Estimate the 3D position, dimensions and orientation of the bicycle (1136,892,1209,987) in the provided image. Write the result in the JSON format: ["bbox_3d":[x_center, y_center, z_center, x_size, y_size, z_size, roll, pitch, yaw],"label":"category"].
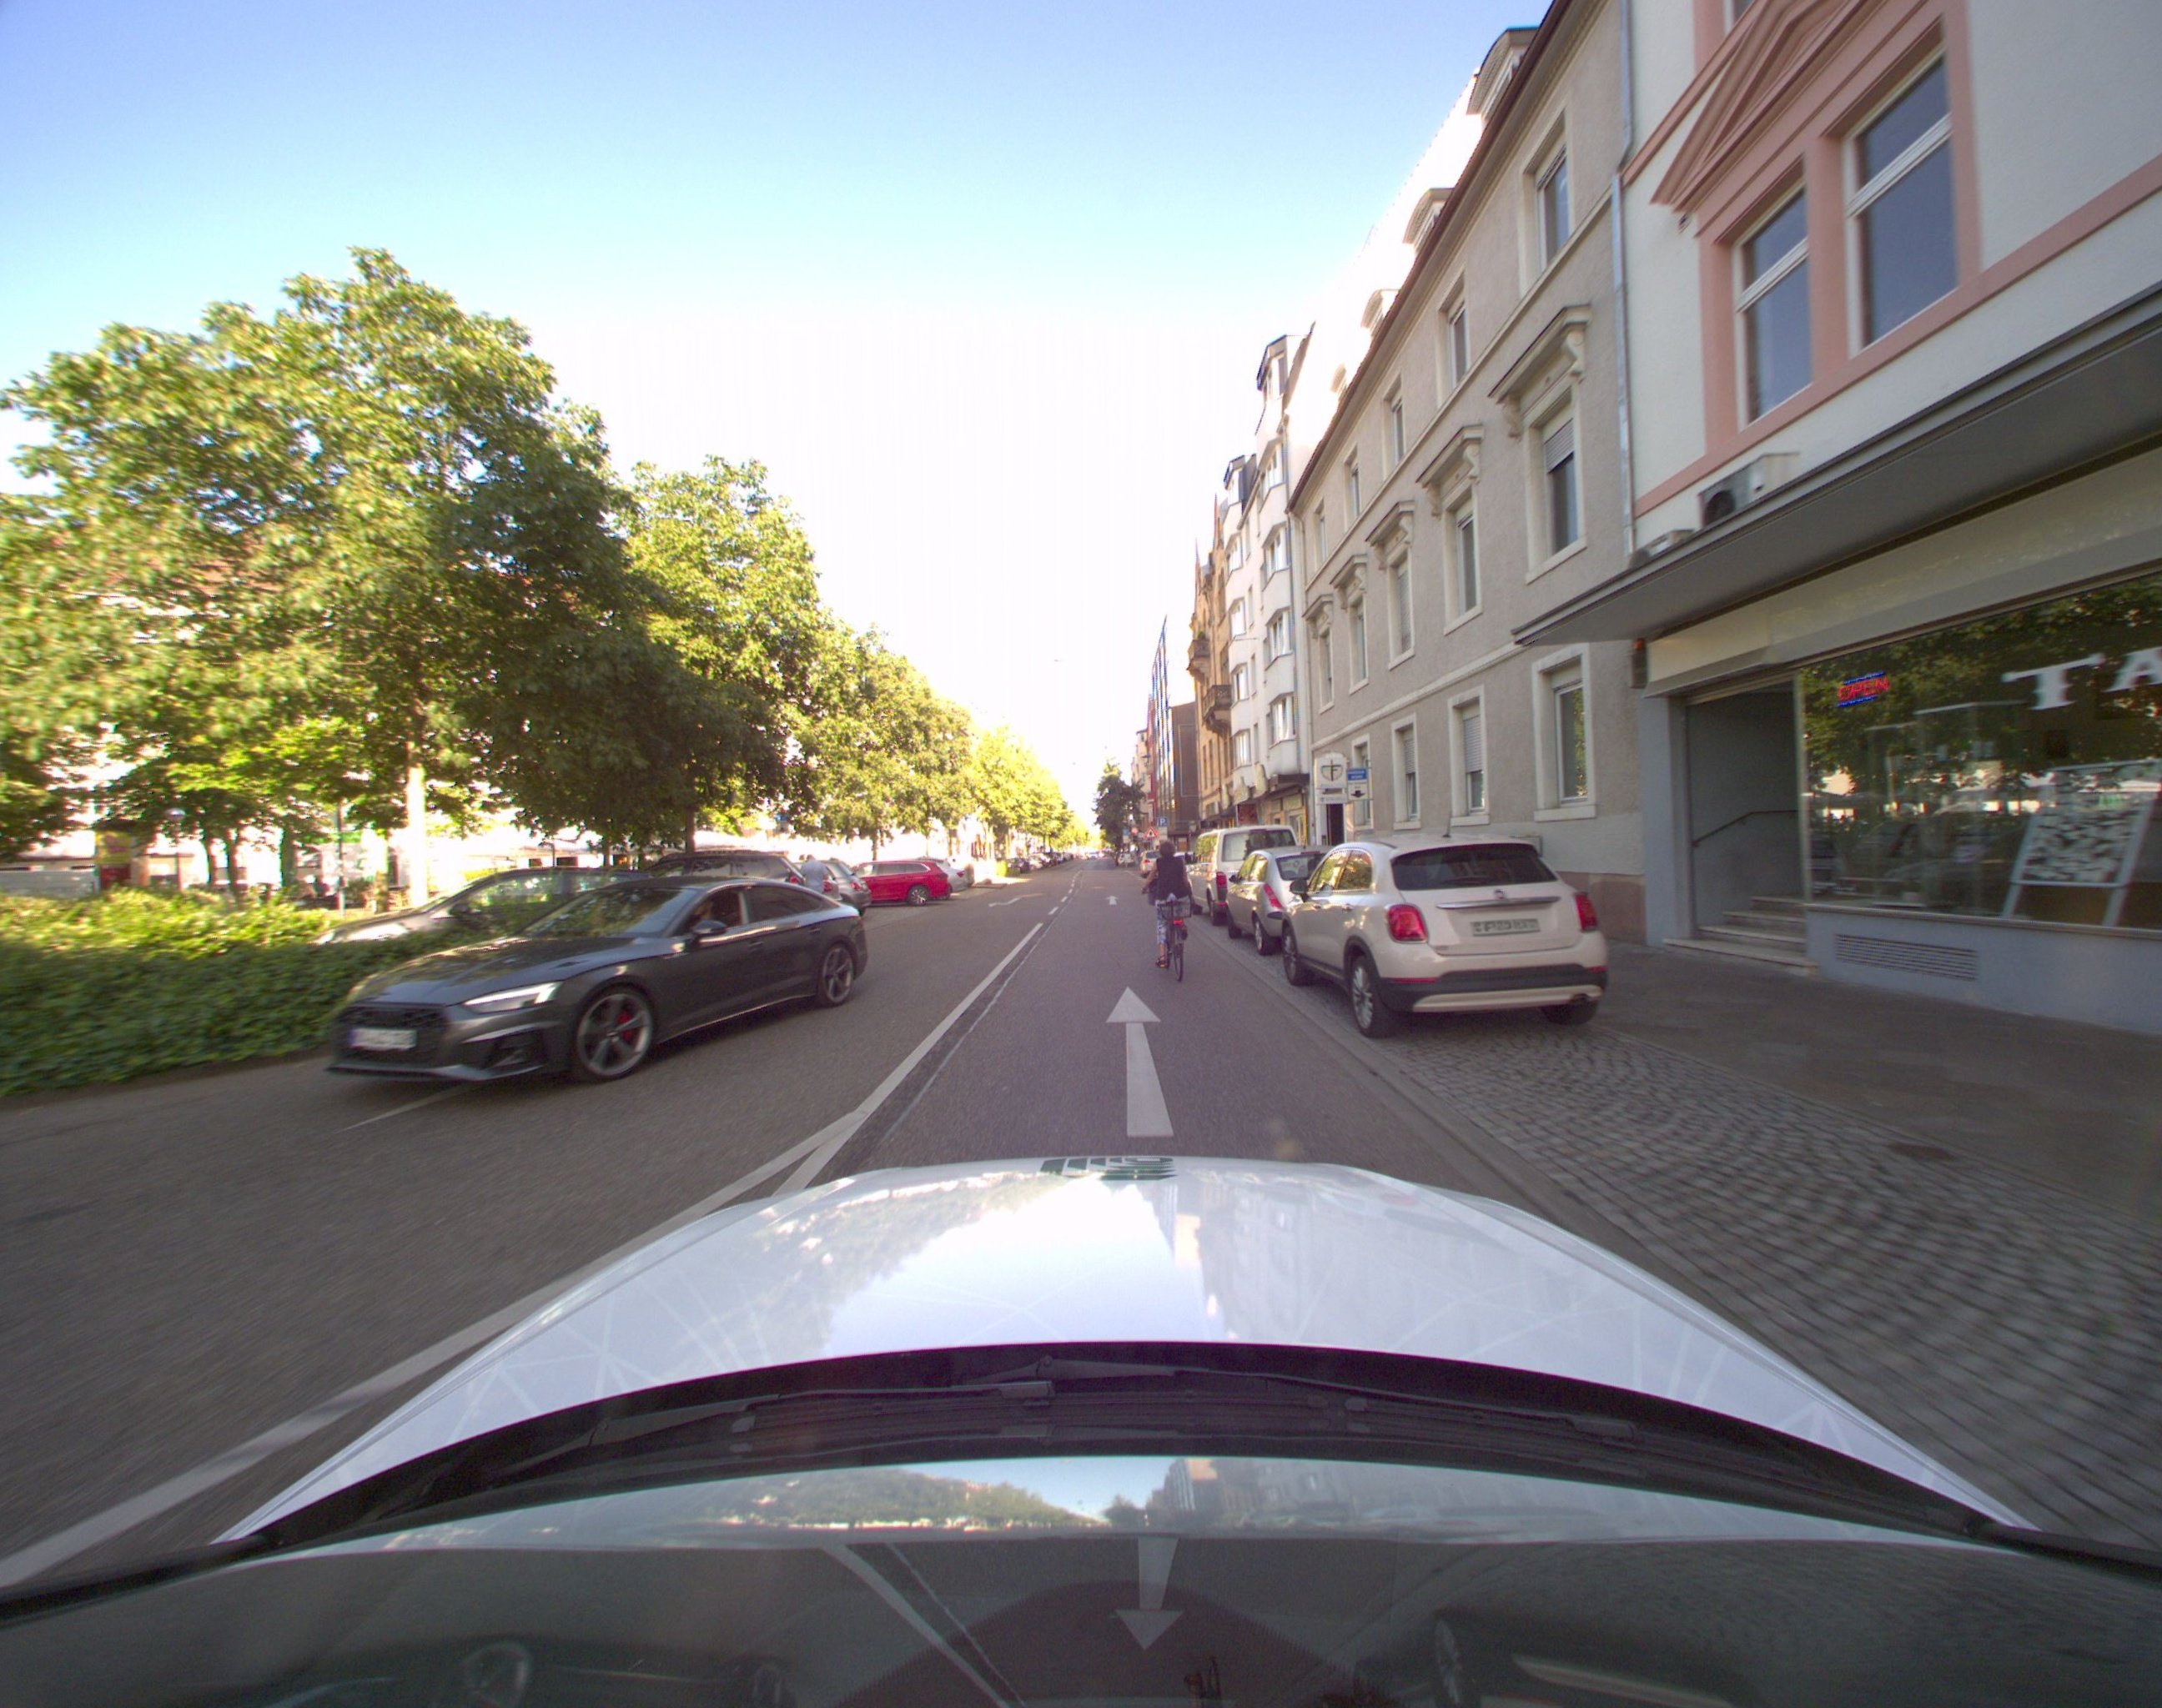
[{"bbox_3d":[1.099,1.005,10.316,0.650,0.958,2.698,-1,-1,1],"label":"bicycle"}]

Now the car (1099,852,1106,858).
[{"bbox_3d":[5.546,0.199,208.783,1.863,1.556,4.002,-1,-1,2],"label":"car"}]

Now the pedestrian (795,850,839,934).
[{"bbox_3d":[-5.356,0.759,16.550,0.698,1.649,0.645,-1,-1,-5],"label":"pedestrian"}]

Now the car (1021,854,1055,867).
[{"bbox_3d":[-5.339,0.820,100.836,3.971,1.508,2.001,-1,-1,2],"label":"car"}]

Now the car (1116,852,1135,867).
[{"bbox_3d":[4.958,0.636,90.011,1.985,1.618,4.014,-1,-1,4],"label":"car"}]

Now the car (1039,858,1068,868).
[{"bbox_3d":[-3.930,1.313,118.190,3.968,1.508,2.003,0,-1,5],"label":"car"}]

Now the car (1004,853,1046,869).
[{"bbox_3d":[-5.691,0.738,82.880,3.971,1.508,2.001,-1,-1,2],"label":"car"}]

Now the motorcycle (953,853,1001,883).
[{"bbox_3d":[-5.936,0.816,46.646,2.451,1.604,1.005,-3,0,20],"label":"motorcycle"}]

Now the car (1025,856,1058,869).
[{"bbox_3d":[-5.019,1.102,103.458,3.972,1.508,2.000,-1,-1,1],"label":"car"}]

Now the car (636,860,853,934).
[{"bbox_3d":[-7.111,0.880,17.610,3.985,1.448,1.798,-1,-1,-9],"label":"car"}]

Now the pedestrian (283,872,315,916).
[{"bbox_3d":[-27.837,1.418,28.980,0.665,1.547,0.561,-1,-1,18],"label":"pedestrian"}]

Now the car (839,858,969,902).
[{"bbox_3d":[-6.287,0.891,29.004,4.244,1.477,1.721,0,-1,-26],"label":"car"}]

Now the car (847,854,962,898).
[{"bbox_3d":[-6.806,0.810,31.443,4.012,1.586,1.813,0,-1,-30],"label":"car"}]

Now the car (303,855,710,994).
[{"bbox_3d":[-7.166,0.780,10.626,4.015,1.470,1.855,0,-1,-33],"label":"car"}]

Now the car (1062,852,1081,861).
[{"bbox_3d":[-2.112,0.570,185.512,3.961,2.014,2.006,-2,0,11],"label":"car"}]

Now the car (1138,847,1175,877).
[{"bbox_3d":[4.482,0.517,48.946,1.892,1.675,4.826,-1,-1,1],"label":"car"}]

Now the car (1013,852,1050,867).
[{"bbox_3d":[-5.557,0.662,92.641,3.971,1.674,2.090,-1,-1,2],"label":"car"}]

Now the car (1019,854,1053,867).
[{"bbox_3d":[-5.464,0.835,98.845,3.971,1.508,1.895,-1,-1,2],"label":"car"}]

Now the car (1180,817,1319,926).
[{"bbox_3d":[3.525,0.324,18.102,1.987,2.004,5.117,-2,0,0],"label":"car"}]

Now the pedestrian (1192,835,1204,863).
[{"bbox_3d":[7.912,-0.320,54.896,0.640,1.871,0.630,-1,-1,24],"label":"pedestrian"}]

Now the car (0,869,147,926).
[{"bbox_3d":[-44.103,1.834,34.646,5.357,2.314,1.985,0,-1,-22],"label":"car"}]

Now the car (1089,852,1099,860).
[{"bbox_3d":[2.740,0.388,170.767,1.986,1.556,4.002,-1,-1,2],"label":"car"}]

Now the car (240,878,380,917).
[{"bbox_3d":[-39.632,2.192,42.019,4.874,1.804,1.896,0,-1,-21],"label":"car"}]

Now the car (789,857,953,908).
[{"bbox_3d":[-6.666,0.869,25.899,4.854,1.488,1.751,0,-1,-22],"label":"car"}]

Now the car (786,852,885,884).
[{"bbox_3d":[-14.404,0.812,47.779,5.290,1.800,2.145,0,-1,-25],"label":"car"}]

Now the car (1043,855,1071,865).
[{"bbox_3d":[-3.563,0.864,120.843,3.968,1.508,2.003,0,-1,5],"label":"car"}]

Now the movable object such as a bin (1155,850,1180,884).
[{"bbox_3d":[4.079,0.587,38.317,1.068,1.457,1.495,-5,0,6],"label":"movable object such as a bin"}]

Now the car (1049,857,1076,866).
[{"bbox_3d":[-2.925,1.169,128.872,3.968,1.508,2.003,0,-1,5],"label":"car"}]

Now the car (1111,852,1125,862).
[{"bbox_3d":[5.565,0.490,122.443,1.986,1.453,4.001,-1,0,1],"label":"car"}]

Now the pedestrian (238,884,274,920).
[{"bbox_3d":[-29.056,1.679,28.696,0.670,1.236,0.557,-1,-1,-6],"label":"pedestrian"}]

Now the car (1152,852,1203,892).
[{"bbox_3d":[3.702,0.684,31.720,1.672,1.448,3.787,-1,-1,2],"label":"car"}]

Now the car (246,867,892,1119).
[{"bbox_3d":[-3.687,0.845,7.203,1.897,1.417,4.828,-1,-1,14],"label":"car"}]

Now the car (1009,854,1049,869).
[{"bbox_3d":[-5.449,0.767,85.116,3.971,1.508,2.001,-1,-1,2],"label":"car"}]

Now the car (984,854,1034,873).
[{"bbox_3d":[-6.174,0.803,70.059,3.971,1.508,2.001,-1,-1,2],"label":"car"}]

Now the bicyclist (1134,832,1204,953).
[{"bbox_3d":[1.100,0.469,10.411,0.783,1.453,1.096,-1,-1,1],"label":"bicyclist"}]

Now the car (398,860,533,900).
[{"bbox_3d":[-33.521,1.375,44.574,5.603,2.014,1.802,0,-1,-25],"label":"car"}]

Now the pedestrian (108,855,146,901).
[{"bbox_3d":[-30.894,0.766,26.380,0.559,1.465,0.667,0,-1,-27],"label":"pedestrian"}]

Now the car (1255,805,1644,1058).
[{"bbox_3d":[3.099,0.580,8.171,1.739,1.739,4.961,-1,-1,1],"label":"car"}]

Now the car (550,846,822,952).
[{"bbox_3d":[-6.777,0.717,14.474,3.993,1.668,1.990,-1,0,-15],"label":"car"}]

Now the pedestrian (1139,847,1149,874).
[{"bbox_3d":[4.110,0.411,53.403,0.611,1.735,0.634,-1,-1,2],"label":"pedestrian"}]

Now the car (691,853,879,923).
[{"bbox_3d":[-7.201,0.822,20.119,3.976,1.598,1.748,-1,-1,-2],"label":"car"}]

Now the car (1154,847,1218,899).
[{"bbox_3d":[3.520,0.635,27.819,1.712,1.515,3.583,-4,-1,1],"label":"car"}]

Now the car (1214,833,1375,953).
[{"bbox_3d":[3.245,0.567,13.099,1.693,1.604,3.758,-2,-1,2],"label":"car"}]
